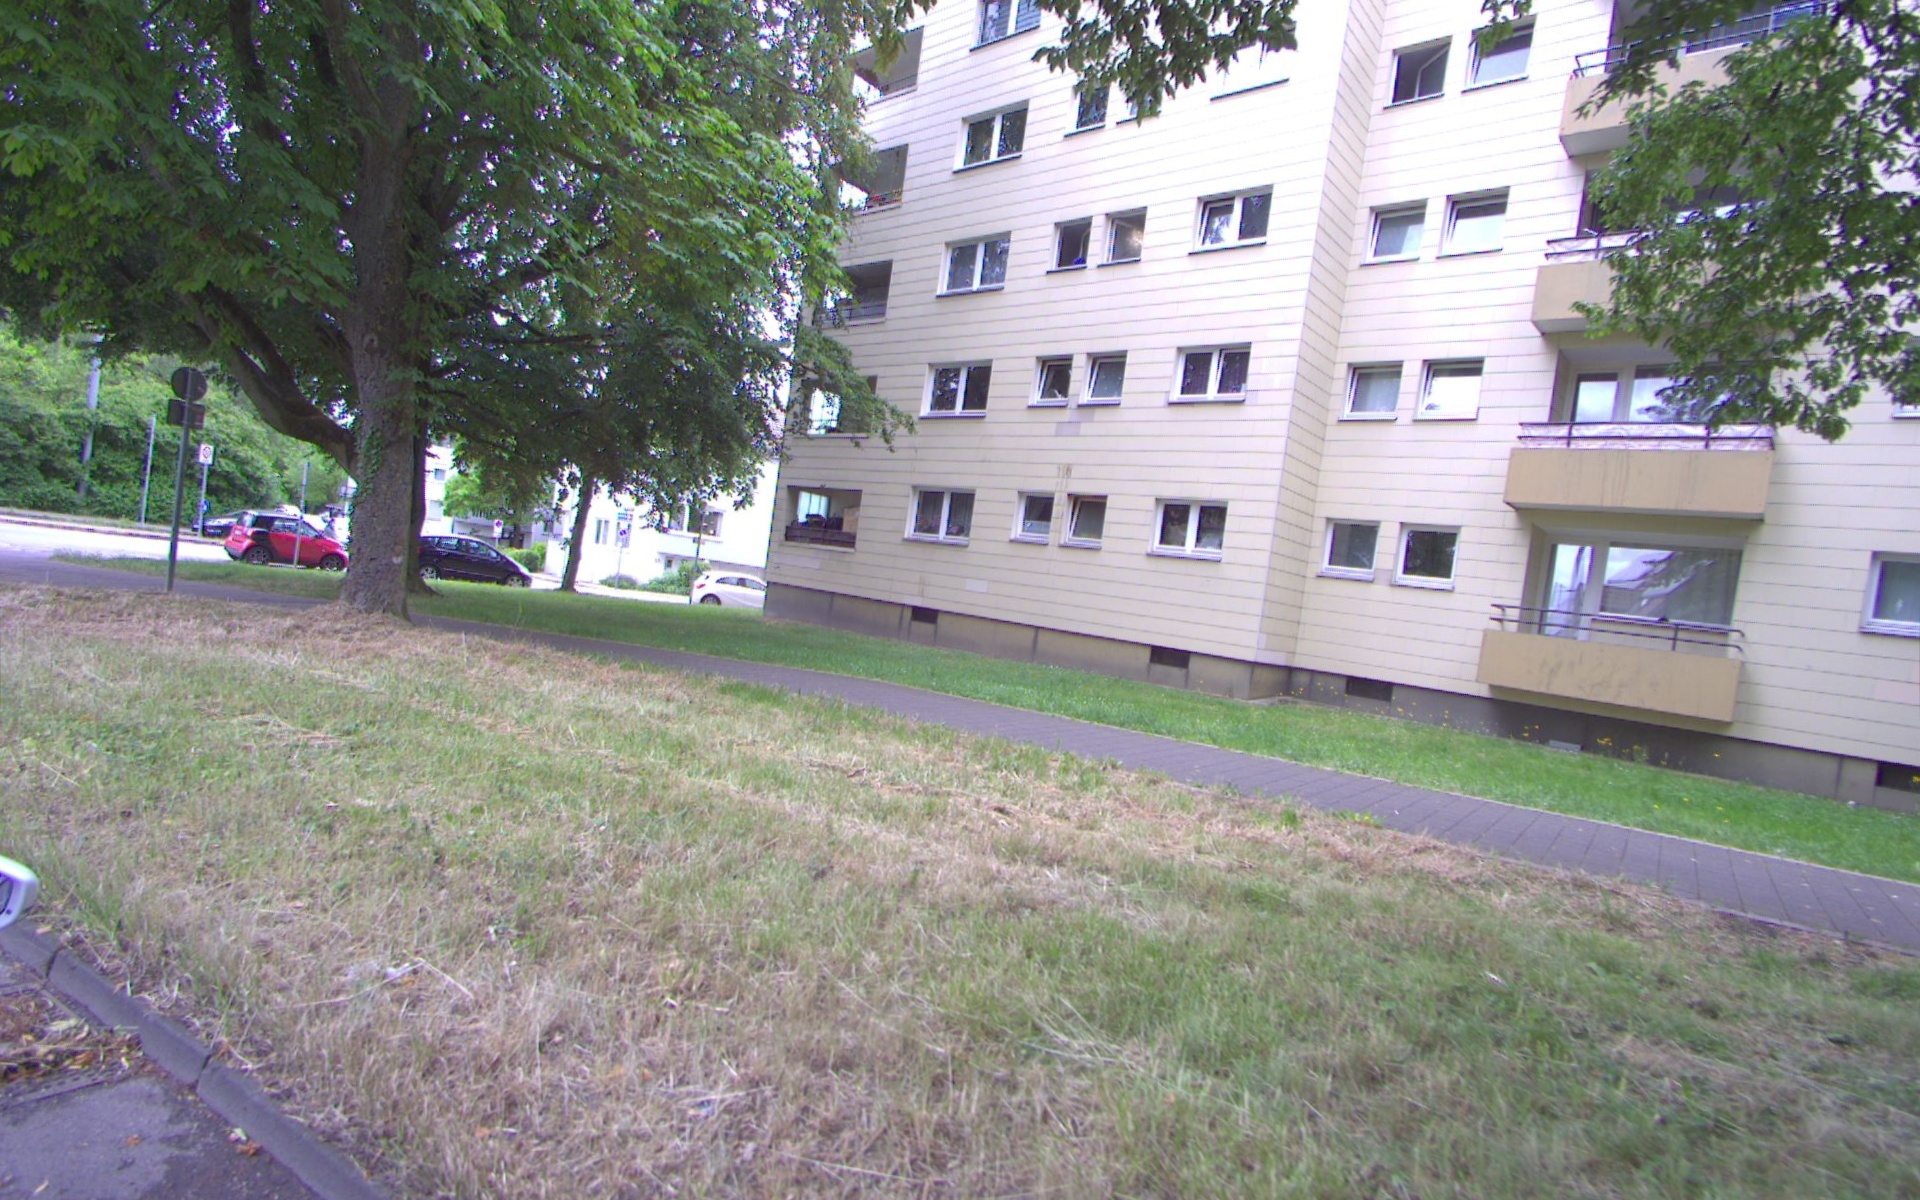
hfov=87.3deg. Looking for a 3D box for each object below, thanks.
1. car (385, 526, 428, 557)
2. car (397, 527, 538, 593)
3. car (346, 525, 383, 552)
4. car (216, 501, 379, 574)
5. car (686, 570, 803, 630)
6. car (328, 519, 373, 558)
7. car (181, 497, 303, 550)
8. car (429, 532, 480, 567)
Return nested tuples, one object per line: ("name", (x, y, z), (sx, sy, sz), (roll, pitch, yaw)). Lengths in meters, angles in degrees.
("car", (-35.356, -3.723, 64.192), (1.714, 1.631, 3.812), (6, 2, -39))
("car", (-15.832, -1.274, 32.389), (3.815, 1.631, 1.712), (6, 1, -34))
("car", (-43.236, -4.471, 73.005), (1.714, 1.631, 3.812), (6, 2, -39))
("car", (-19.261, -1.785, 29.363), (1.701, 1.631, 3.517), (8, 1, 36))
("car", (-7.704, -0.008, 35.903), (3.797, 1.631, 1.720), (7, 1, -18))
("car", (-29.906, -3.057, 49.434), (1.709, 1.631, 3.822), (6, 1, -31))
("car", (-28.290, -2.989, 39.708), (1.702, 1.550, 3.516), (8, 1, 37))
("car", (-28.314, -2.844, 56.347), (1.714, 1.631, 3.812), (6, 2, -39))
